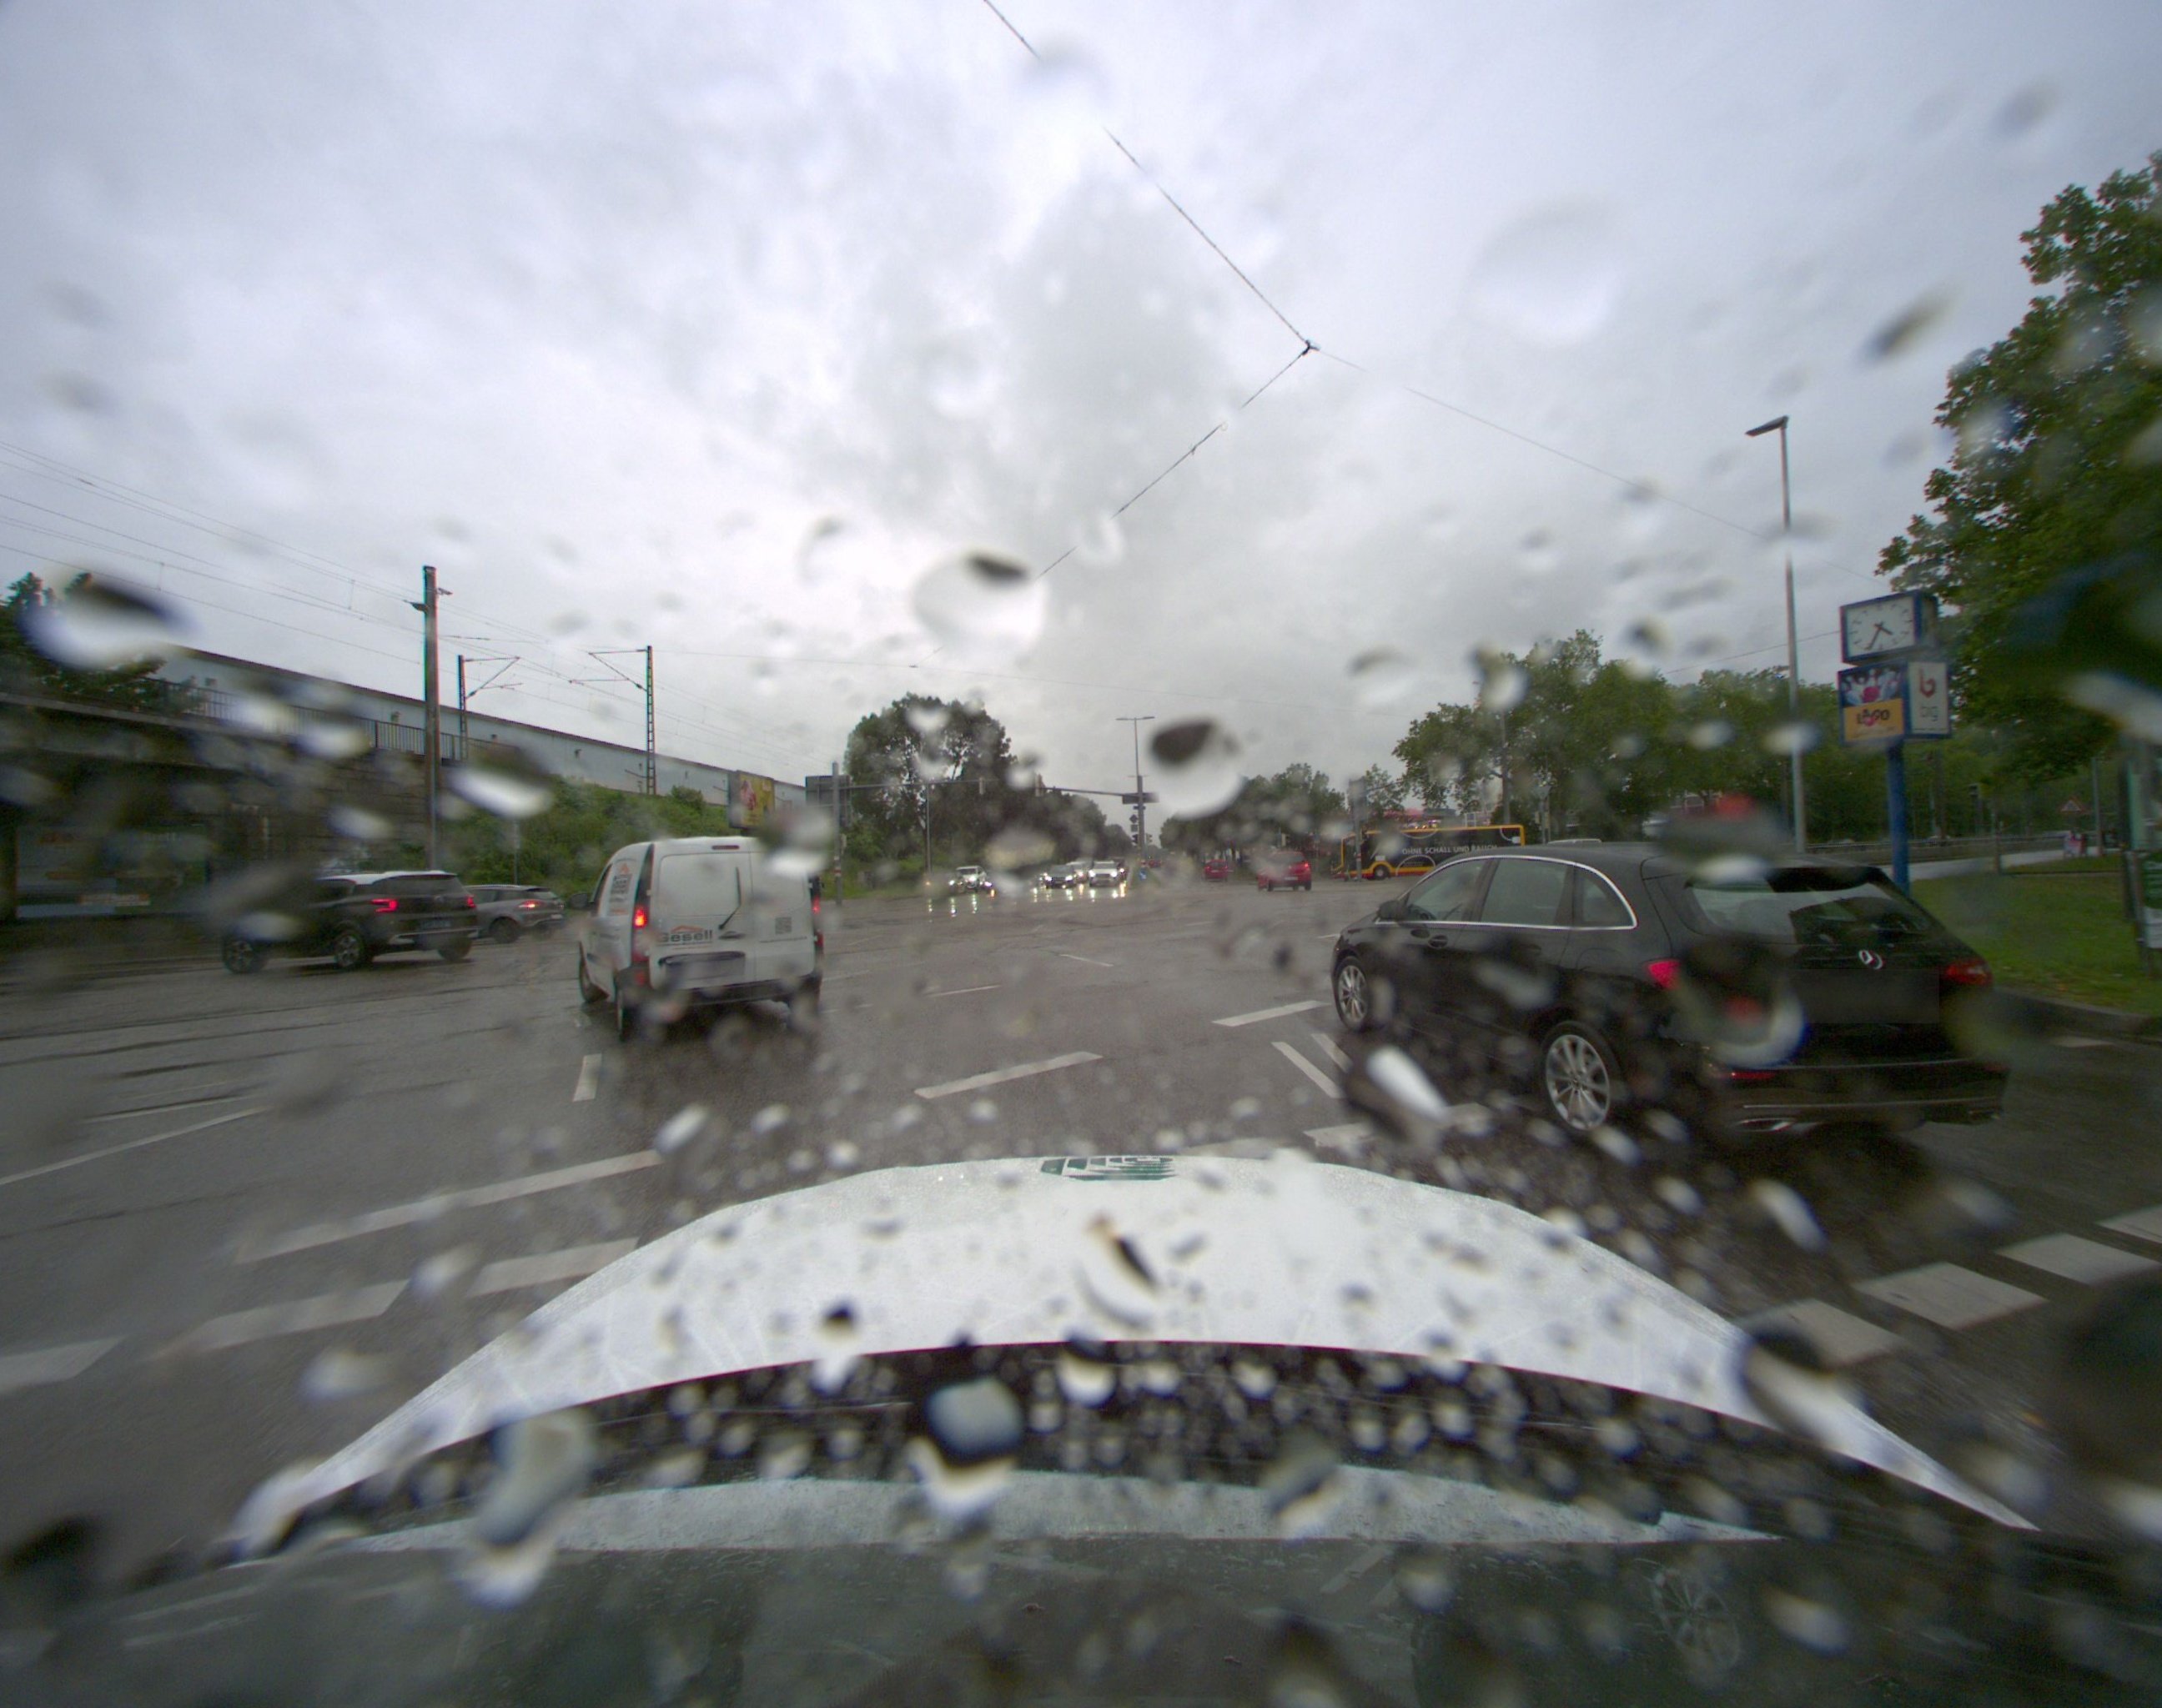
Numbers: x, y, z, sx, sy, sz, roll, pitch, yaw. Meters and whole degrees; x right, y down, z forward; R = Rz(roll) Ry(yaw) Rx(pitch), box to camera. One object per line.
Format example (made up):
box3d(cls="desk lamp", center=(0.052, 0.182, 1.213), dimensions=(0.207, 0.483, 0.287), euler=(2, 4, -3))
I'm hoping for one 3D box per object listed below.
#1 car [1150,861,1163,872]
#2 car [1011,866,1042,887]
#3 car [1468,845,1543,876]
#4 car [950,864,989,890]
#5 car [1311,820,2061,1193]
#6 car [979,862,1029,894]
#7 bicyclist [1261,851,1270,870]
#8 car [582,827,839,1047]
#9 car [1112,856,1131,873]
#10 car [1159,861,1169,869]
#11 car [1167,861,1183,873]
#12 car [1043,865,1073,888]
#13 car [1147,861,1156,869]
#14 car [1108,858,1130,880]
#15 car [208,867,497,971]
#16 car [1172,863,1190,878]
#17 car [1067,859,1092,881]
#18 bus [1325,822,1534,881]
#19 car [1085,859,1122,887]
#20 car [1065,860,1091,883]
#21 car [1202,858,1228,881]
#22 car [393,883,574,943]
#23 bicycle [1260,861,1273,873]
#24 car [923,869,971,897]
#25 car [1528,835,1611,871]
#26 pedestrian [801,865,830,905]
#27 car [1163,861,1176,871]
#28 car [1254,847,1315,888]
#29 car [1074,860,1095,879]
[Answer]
box3d(cls="car", center=(12.166, 2.018, 131.188), dimensions=(1.988, 1.618, 4.003), euler=(-2, -1, 3))
box3d(cls="car", center=(-3.915, 1.594, 59.296), dimensions=(1.820, 1.358, 4.002), euler=(-2, 0, 2))
box3d(cls="car", center=(24.678, 0.384, 47.318), dimensions=(4.359, 1.651, 1.913), euler=(-2, -1, -33))
box3d(cls="car", center=(-7.080, 1.425, 52.026), dimensions=(1.820, 1.482, 4.001), euler=(-2, 0, 1))
box3d(cls="car", center=(3.260, 0.636, 5.584), dimensions=(1.867, 1.523, 4.079), euler=(-2, 0, -5))
box3d(cls="car", center=(-4.421, 1.374, 47.543), dimensions=(2.011, 1.657, 4.069), euler=(-2, 0, 7))
box3d(cls="bicyclist", center=(19.019, 0.686, 83.873), dimensions=(0.765, 1.881, 0.622), euler=(-3, -1, 0))
box3d(cls="car", center=(-4.140, 0.679, 8.716), dimensions=(1.769, 1.777, 3.956), euler=(-1, 0, -35))
box3d(cls="car", center=(4.486, 1.143, 89.849), dimensions=(1.931, 1.720, 4.001), euler=(-2, 0, 1))
box3d(cls="car", center=(18.284, 2.479, 180.102), dimensions=(1.988, 1.618, 4.003), euler=(-2, -1, 3))
box3d(cls="car", center=(13.749, 1.908, 119.035), dimensions=(1.988, 1.618, 4.003), euler=(-2, -1, 3))
box3d(cls="car", center=(-1.451, 1.441, 53.291), dimensions=(1.821, 1.358, 3.999), euler=(-2, 0, -1))
box3d(cls="car", center=(16.285, 2.582, 189.123), dimensions=(1.988, 1.618, 4.003), euler=(-2, -1, 3))
box3d(cls="car", center=(3.070, 1.204, 66.203), dimensions=(1.594, 1.720, 4.001), euler=(-2, 0, 1))
box3d(cls="car", center=(-12.731, 1.106, 14.301), dimensions=(3.956, 1.609, 1.932), euler=(-2, 0, 16))
box3d(cls="car", center=(10.817, 1.801, 88.305), dimensions=(1.834, 1.618, 4.005), euler=(0, -1, 5))
box3d(cls="car", center=(-0.138, 1.369, 70.498), dimensions=(1.837, 1.720, 4.004), euler=(-2, 0, 4))
box3d(cls="bus", center=(22.707, -0.148, 53.589), dimensions=(12.201, 3.268, 3.276), euler=(-2, -1, 2))
box3d(cls="car", center=(1.558, 1.230, 54.859), dimensions=(2.159, 1.720, 4.310), euler=(-2, 0, 6))
box3d(cls="car", center=(-0.208, 1.334, 64.171), dimensions=(1.857, 1.720, 4.002), euler=(-2, 0, 2))
box3d(cls="car", center=(10.018, 1.129, 61.153), dimensions=(1.625, 1.656, 3.488), euler=(0, 0, 4))
box3d(cls="car", center=(-14.938, 1.461, 20.491), dimensions=(3.236, 1.283, 1.686), euler=(-2, 0, 0))
box3d(cls="bicycle", center=(19.040, 1.327, 83.821), dimensions=(0.816, 1.165, 2.260), euler=(-2, -1, 1))
box3d(cls="car", center=(-7.499, 1.606, 45.816), dimensions=(1.885, 1.349, 4.002), euler=(-2, 0, 2))
box3d(cls="car", center=(27.585, -0.077, 45.960), dimensions=(4.764, 1.849, 2.056), euler=(-2, -1, -33))
box3d(cls="pedestrian", center=(-11.603, 1.350, 35.660), dimensions=(1.000, 1.719, 0.818), euler=(-2, -1, -5))
box3d(cls="car", center=(14.918, 2.066, 137.693), dimensions=(1.988, 1.618, 4.003), euler=(-2, -1, 3))
box3d(cls="car", center=(7.774, 0.507, 31.413), dimensions=(1.671, 1.491, 3.625), euler=(-1, 0, 4))
box3d(cls="car", center=(0.342, 1.412, 75.356), dimensions=(1.647, 1.720, 4.003), euler=(-2, 0, 3))
